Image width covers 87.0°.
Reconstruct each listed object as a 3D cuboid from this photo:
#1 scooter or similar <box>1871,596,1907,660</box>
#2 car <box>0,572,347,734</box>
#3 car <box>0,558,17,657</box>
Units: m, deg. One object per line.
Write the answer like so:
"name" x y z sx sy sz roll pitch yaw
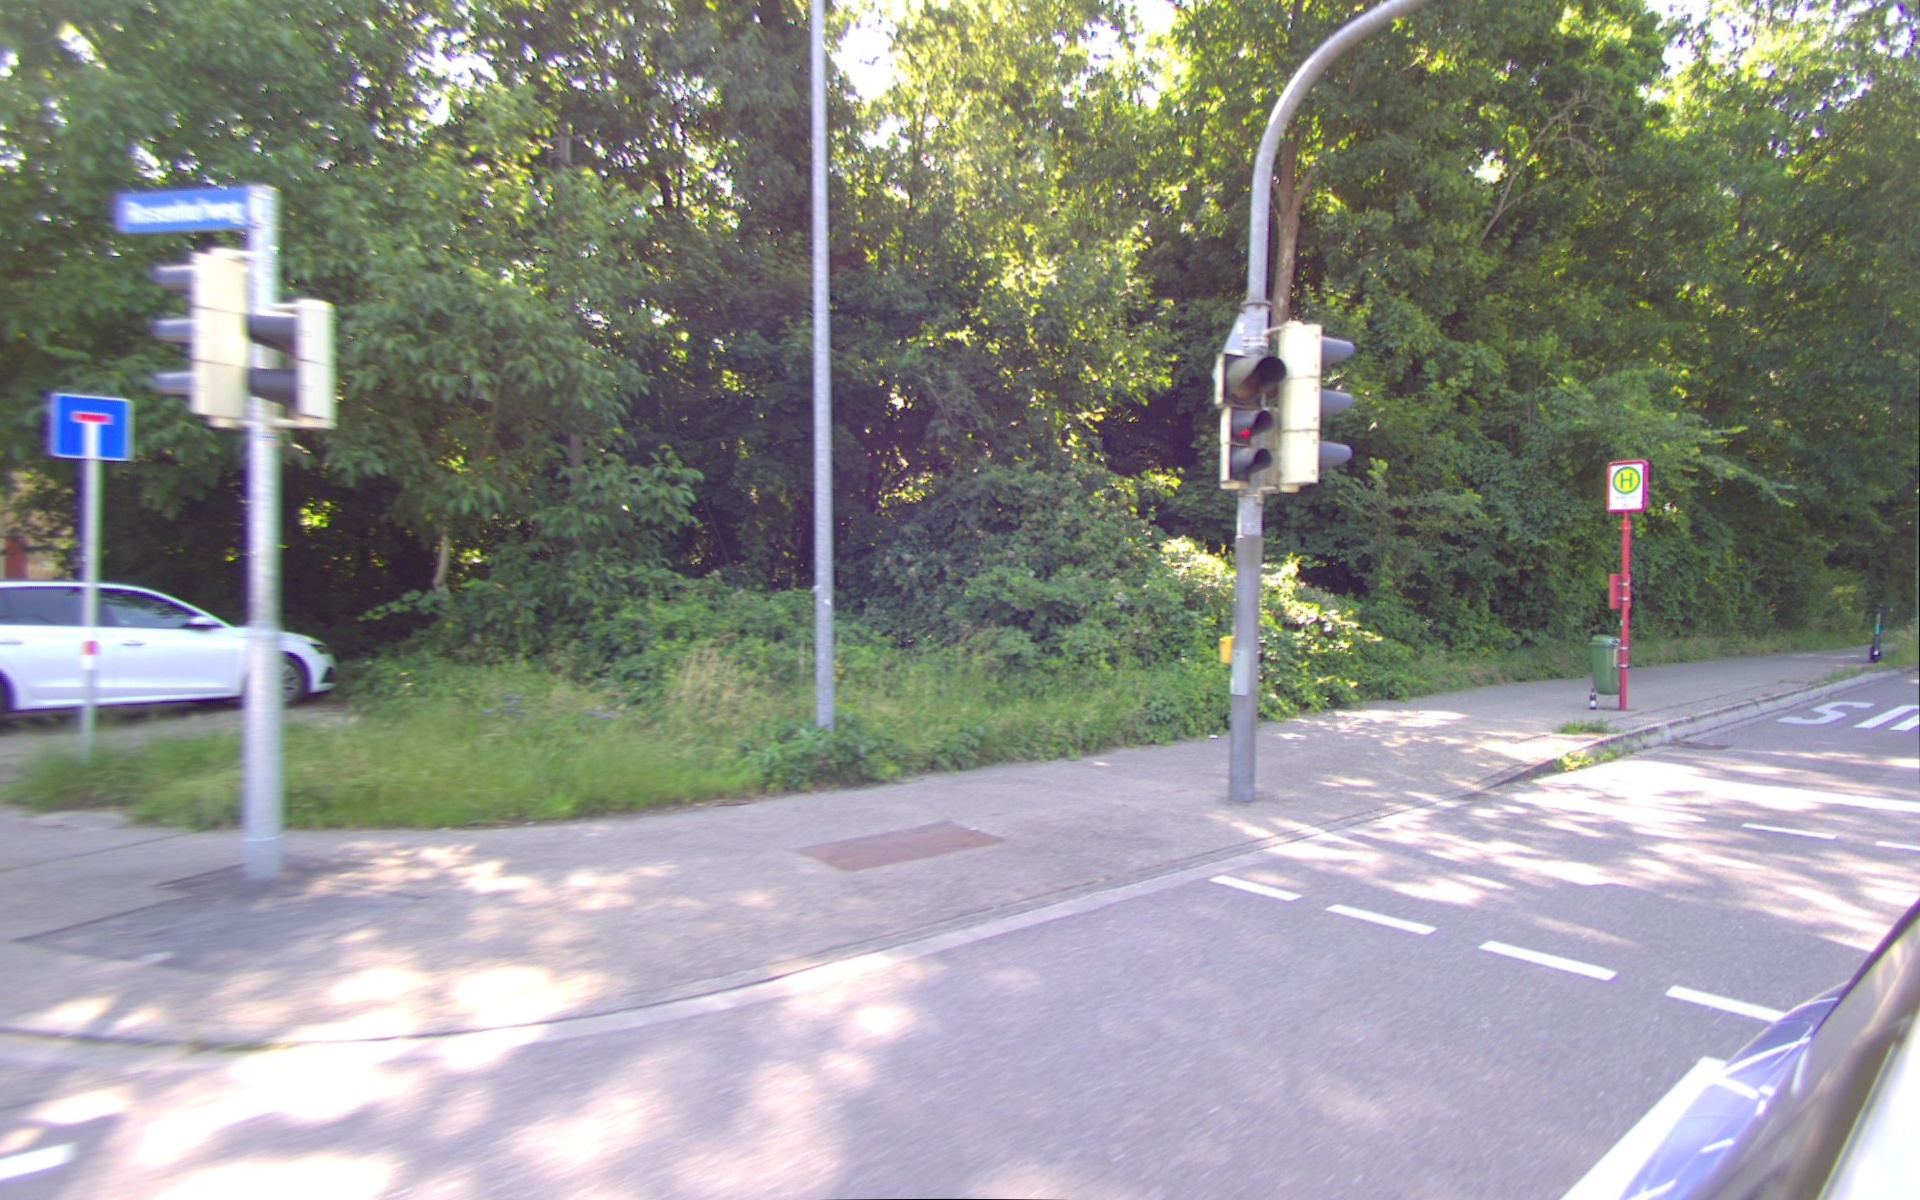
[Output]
"scooter or similar" 20.184 0.594 21.996 0.398 1.323 1.313 2 1 36
"car" -9.211 0.471 10.617 1.615 1.482 4.566 2 2 30
"car" -14.975 0.155 13.493 1.596 1.482 3.797 1 2 -7
